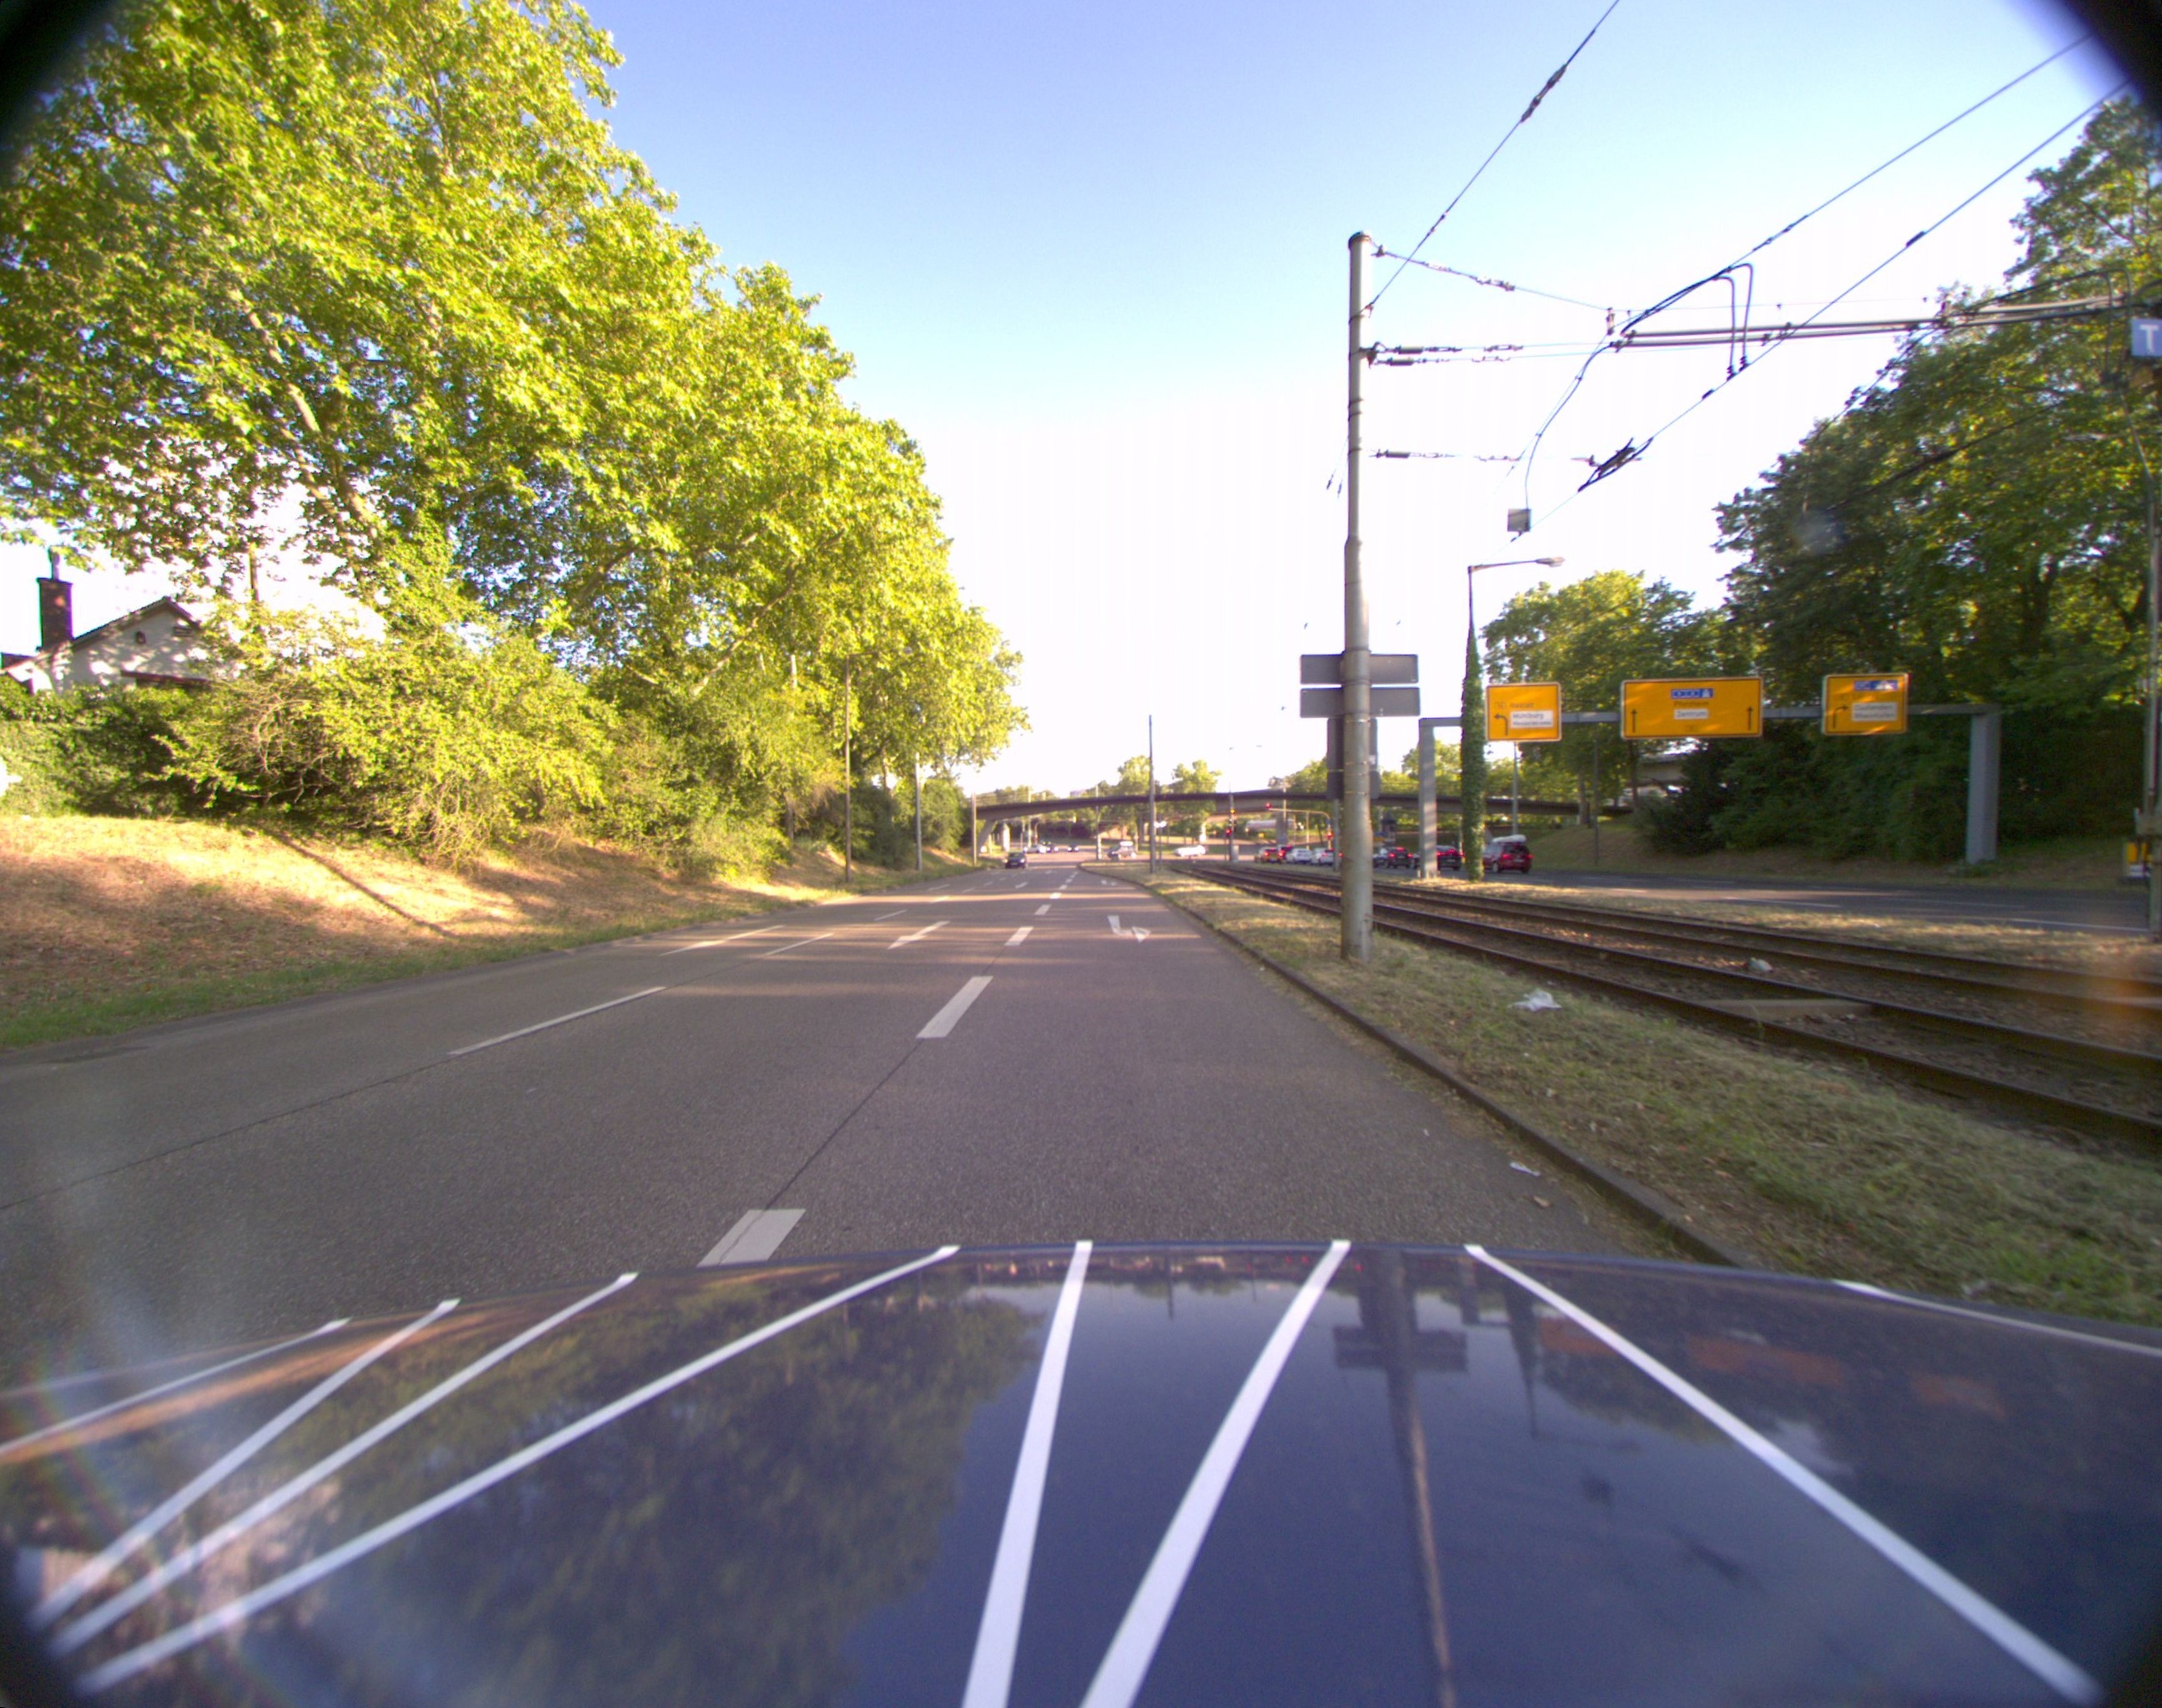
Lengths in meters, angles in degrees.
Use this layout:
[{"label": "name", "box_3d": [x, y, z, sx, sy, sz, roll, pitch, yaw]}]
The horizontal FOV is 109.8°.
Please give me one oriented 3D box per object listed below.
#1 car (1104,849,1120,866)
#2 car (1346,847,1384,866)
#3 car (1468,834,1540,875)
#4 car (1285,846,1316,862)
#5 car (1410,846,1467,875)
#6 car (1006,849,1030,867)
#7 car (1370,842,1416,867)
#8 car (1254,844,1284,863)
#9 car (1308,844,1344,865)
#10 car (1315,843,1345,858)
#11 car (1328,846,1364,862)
[{"label": "car", "box_3d": [4.215, 0.459, 103.007, 1.998, 2.150, 4.191, -2, 1, 3]}, {"label": "car", "box_3d": [23.998, 0.154, 64.430, 1.796, 1.473, 4.000, -2, 1, 2]}, {"label": "car", "box_3d": [23.248, -0.032, 41.954, 1.796, 2.093, 3.999, -2, 1, 1]}, {"label": "car", "box_3d": [19.978, -0.021, 69.221, 1.745, 1.424, 4.411, 1, 1, 4]}, {"label": "car", "box_3d": [23.105, 0.368, 49.262, 1.796, 1.740, 4.240, -2, 1, 2]}, {"label": "car", "box_3d": [-5.523, 0.288, 66.964, 1.628, 1.434, 3.985, -2, 1, 1]}, {"label": "car", "box_3d": [23.106, -0.009, 56.390, 1.796, 1.740, 4.000, -2, 1, 2]}, {"label": "car", "box_3d": [16.161, -0.074, 65.467, 1.667, 1.556, 4.000, -2, 1, 2]}, {"label": "car", "box_3d": [20.012, 0.011, 62.224, 1.667, 1.556, 4.190, -2, 1, 2]}, {"label": "car", "box_3d": [24.807, -0.344, 75.866, 1.796, 1.434, 4.000, -2, 1, 2]}, {"label": "car", "box_3d": [24.606, -0.046, 70.707, 1.796, 1.375, 4.476, -2, 1, 2]}]
